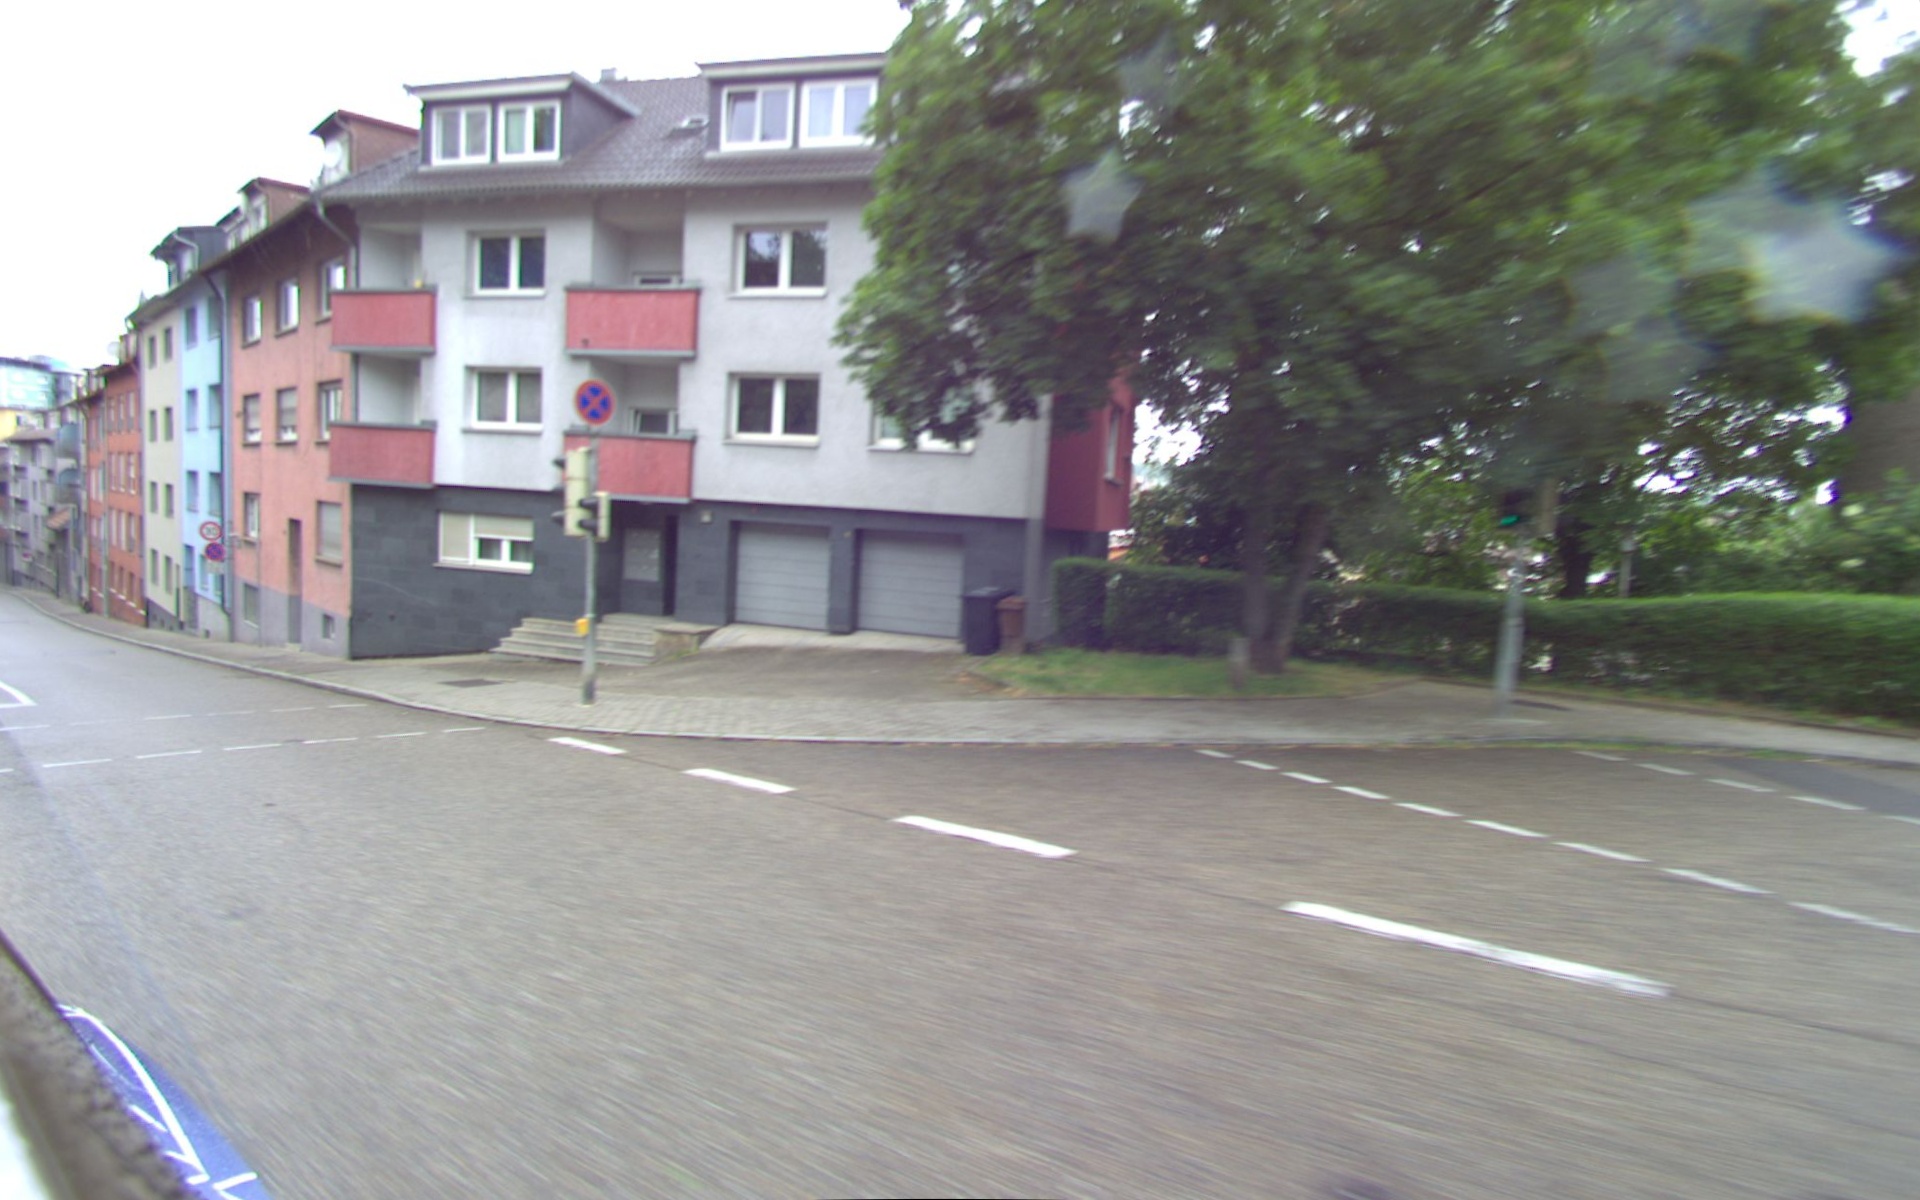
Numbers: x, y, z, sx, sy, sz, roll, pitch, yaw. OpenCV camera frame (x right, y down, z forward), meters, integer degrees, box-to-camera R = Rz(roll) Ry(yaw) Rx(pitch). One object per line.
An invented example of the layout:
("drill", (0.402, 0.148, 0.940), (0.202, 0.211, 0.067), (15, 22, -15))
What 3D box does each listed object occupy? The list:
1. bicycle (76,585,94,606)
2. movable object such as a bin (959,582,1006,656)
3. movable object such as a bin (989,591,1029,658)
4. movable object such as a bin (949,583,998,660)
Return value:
("bicycle", (-50.694, -0.253, 58.607), (2.041, 1.125, 0.564), (2, 5, 45))
("movable object such as a bin", (0.385, 0.312, 17.248), (0.683, 1.208, 0.558), (1, 3, 18))
("movable object such as a bin", (0.797, 0.382, 16.399), (0.496, 1.023, 0.626), (1, 3, 19))
("movable object such as a bin", (0.228, 0.347, 16.687), (0.683, 1.208, 0.558), (1, 3, 18))
